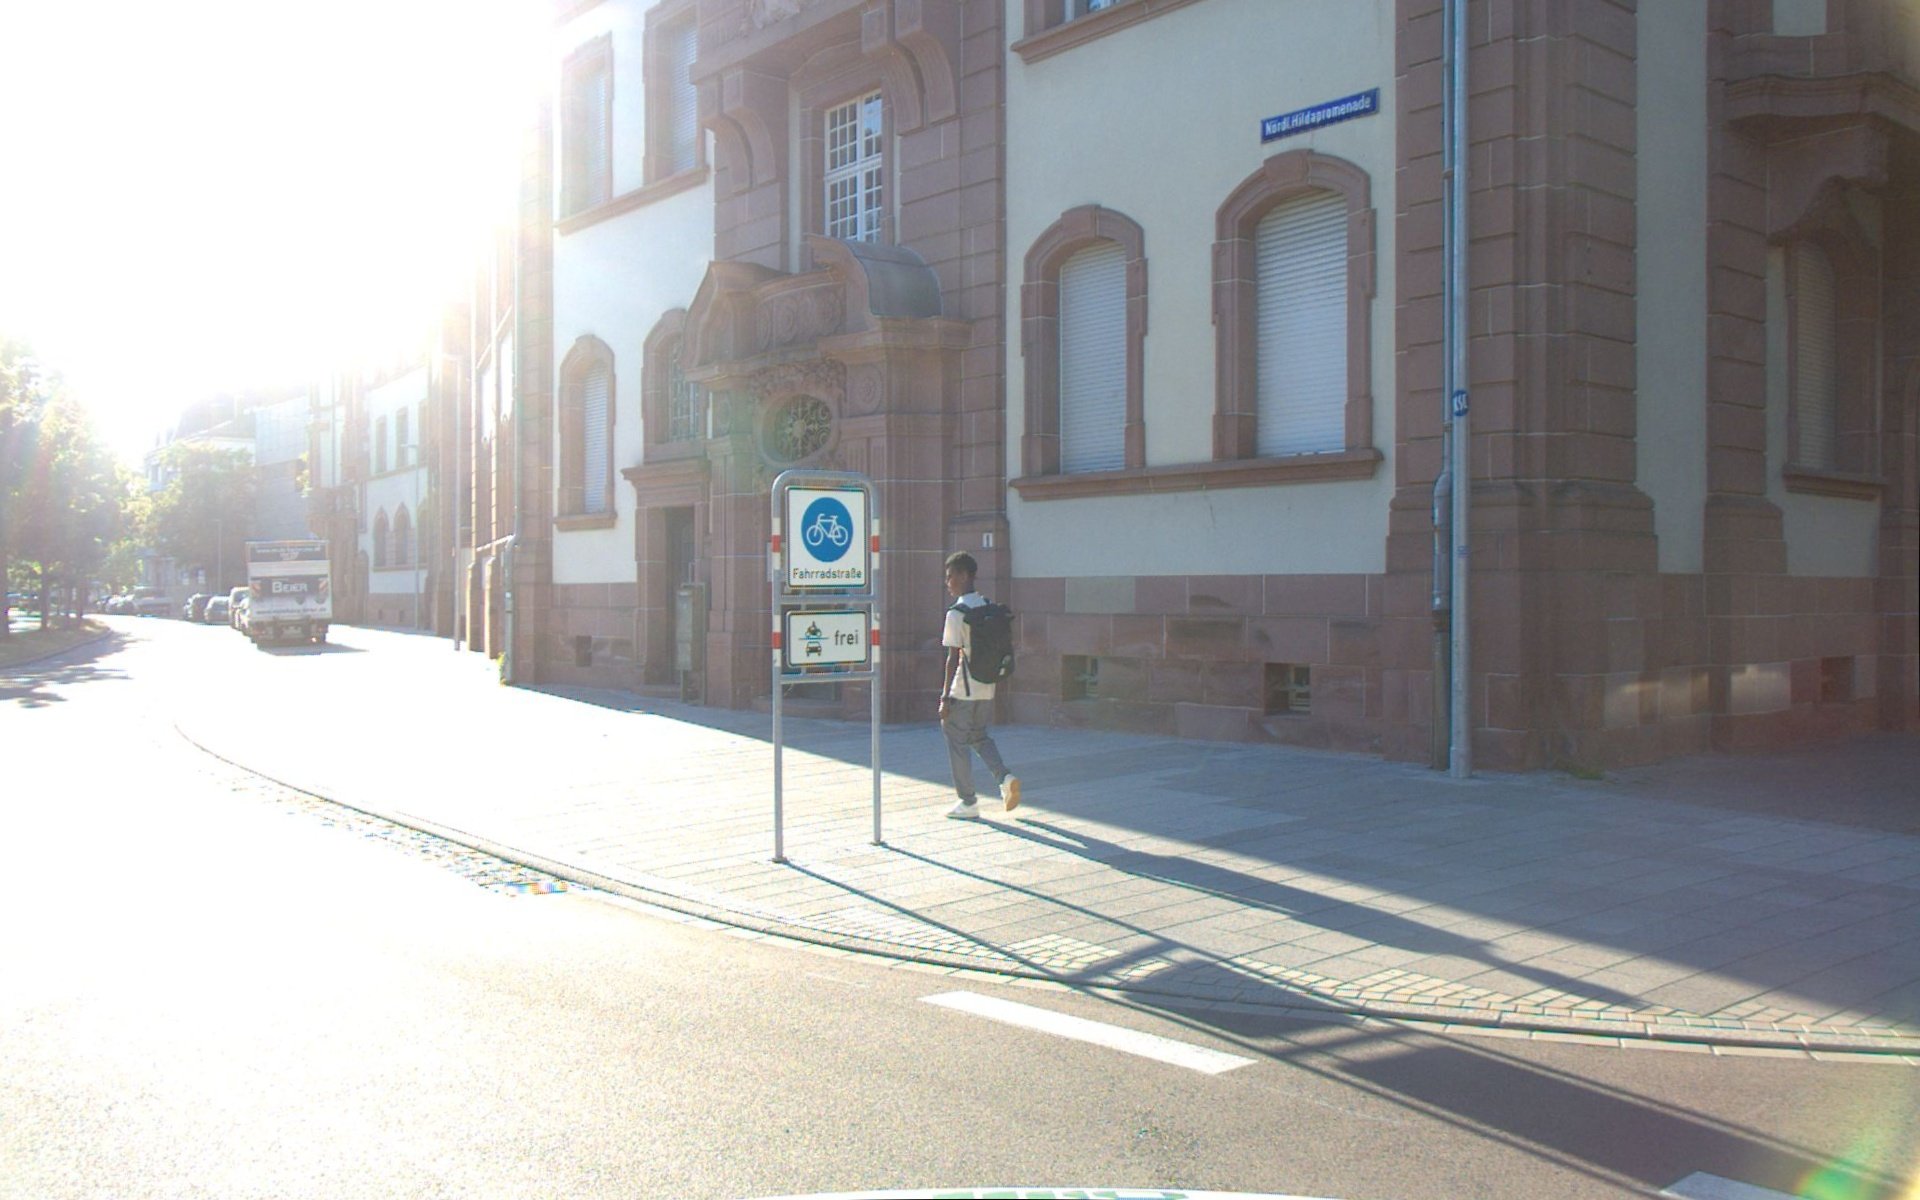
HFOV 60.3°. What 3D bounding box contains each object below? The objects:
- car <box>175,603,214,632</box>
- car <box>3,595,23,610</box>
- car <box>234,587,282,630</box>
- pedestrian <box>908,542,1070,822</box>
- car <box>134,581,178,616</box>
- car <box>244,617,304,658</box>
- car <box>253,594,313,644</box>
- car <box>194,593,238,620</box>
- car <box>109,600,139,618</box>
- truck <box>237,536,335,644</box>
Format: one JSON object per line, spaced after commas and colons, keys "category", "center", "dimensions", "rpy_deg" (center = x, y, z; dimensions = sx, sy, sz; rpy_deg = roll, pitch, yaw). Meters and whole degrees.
{"category": "car", "center": [-47.595, 1.082, 102.850], "dimensions": [1.707, 1.698, 4.069], "rpy_deg": [-2, 1, -32]}
{"category": "car", "center": [-114.051, 0.273, 199.217], "dimensions": [1.778, 1.754, 3.953], "rpy_deg": [-2, 1, -34]}
{"category": "car", "center": [-35.789, 0.424, 84.290], "dimensions": [1.969, 2.000, 4.810], "rpy_deg": [-4, 1, -25]}
{"category": "pedestrian", "center": [0.181, 0.506, 10.937], "dimensions": [0.529, 1.748, 0.989], "rpy_deg": [-2, 2, -39]}
{"category": "car", "center": [-62.252, -0.140, 128.019], "dimensions": [2.192, 2.574, 6.075], "rpy_deg": [-3, 1, -34]}
{"category": "car", "center": [-27.283, 1.458, 65.745], "dimensions": [1.849, 1.461, 4.483], "rpy_deg": [-2, 1, -27]}
{"category": "car", "center": [-23.288, 0.621, 56.826], "dimensions": [1.745, 1.557, 4.538], "rpy_deg": [-2, 1, -24]}
{"category": "car", "center": [-42.382, 0.377, 94.137], "dimensions": [1.730, 1.492, 4.429], "rpy_deg": [0, 0, -32]}
{"category": "car", "center": [-69.075, 0.722, 136.646], "dimensions": [1.677, 1.465, 3.506], "rpy_deg": [-1, 1, -35]}
{"category": "truck", "center": [-21.113, -0.303, 51.649], "dimensions": [2.590, 3.175, 6.040], "rpy_deg": [0, 0, -24]}
